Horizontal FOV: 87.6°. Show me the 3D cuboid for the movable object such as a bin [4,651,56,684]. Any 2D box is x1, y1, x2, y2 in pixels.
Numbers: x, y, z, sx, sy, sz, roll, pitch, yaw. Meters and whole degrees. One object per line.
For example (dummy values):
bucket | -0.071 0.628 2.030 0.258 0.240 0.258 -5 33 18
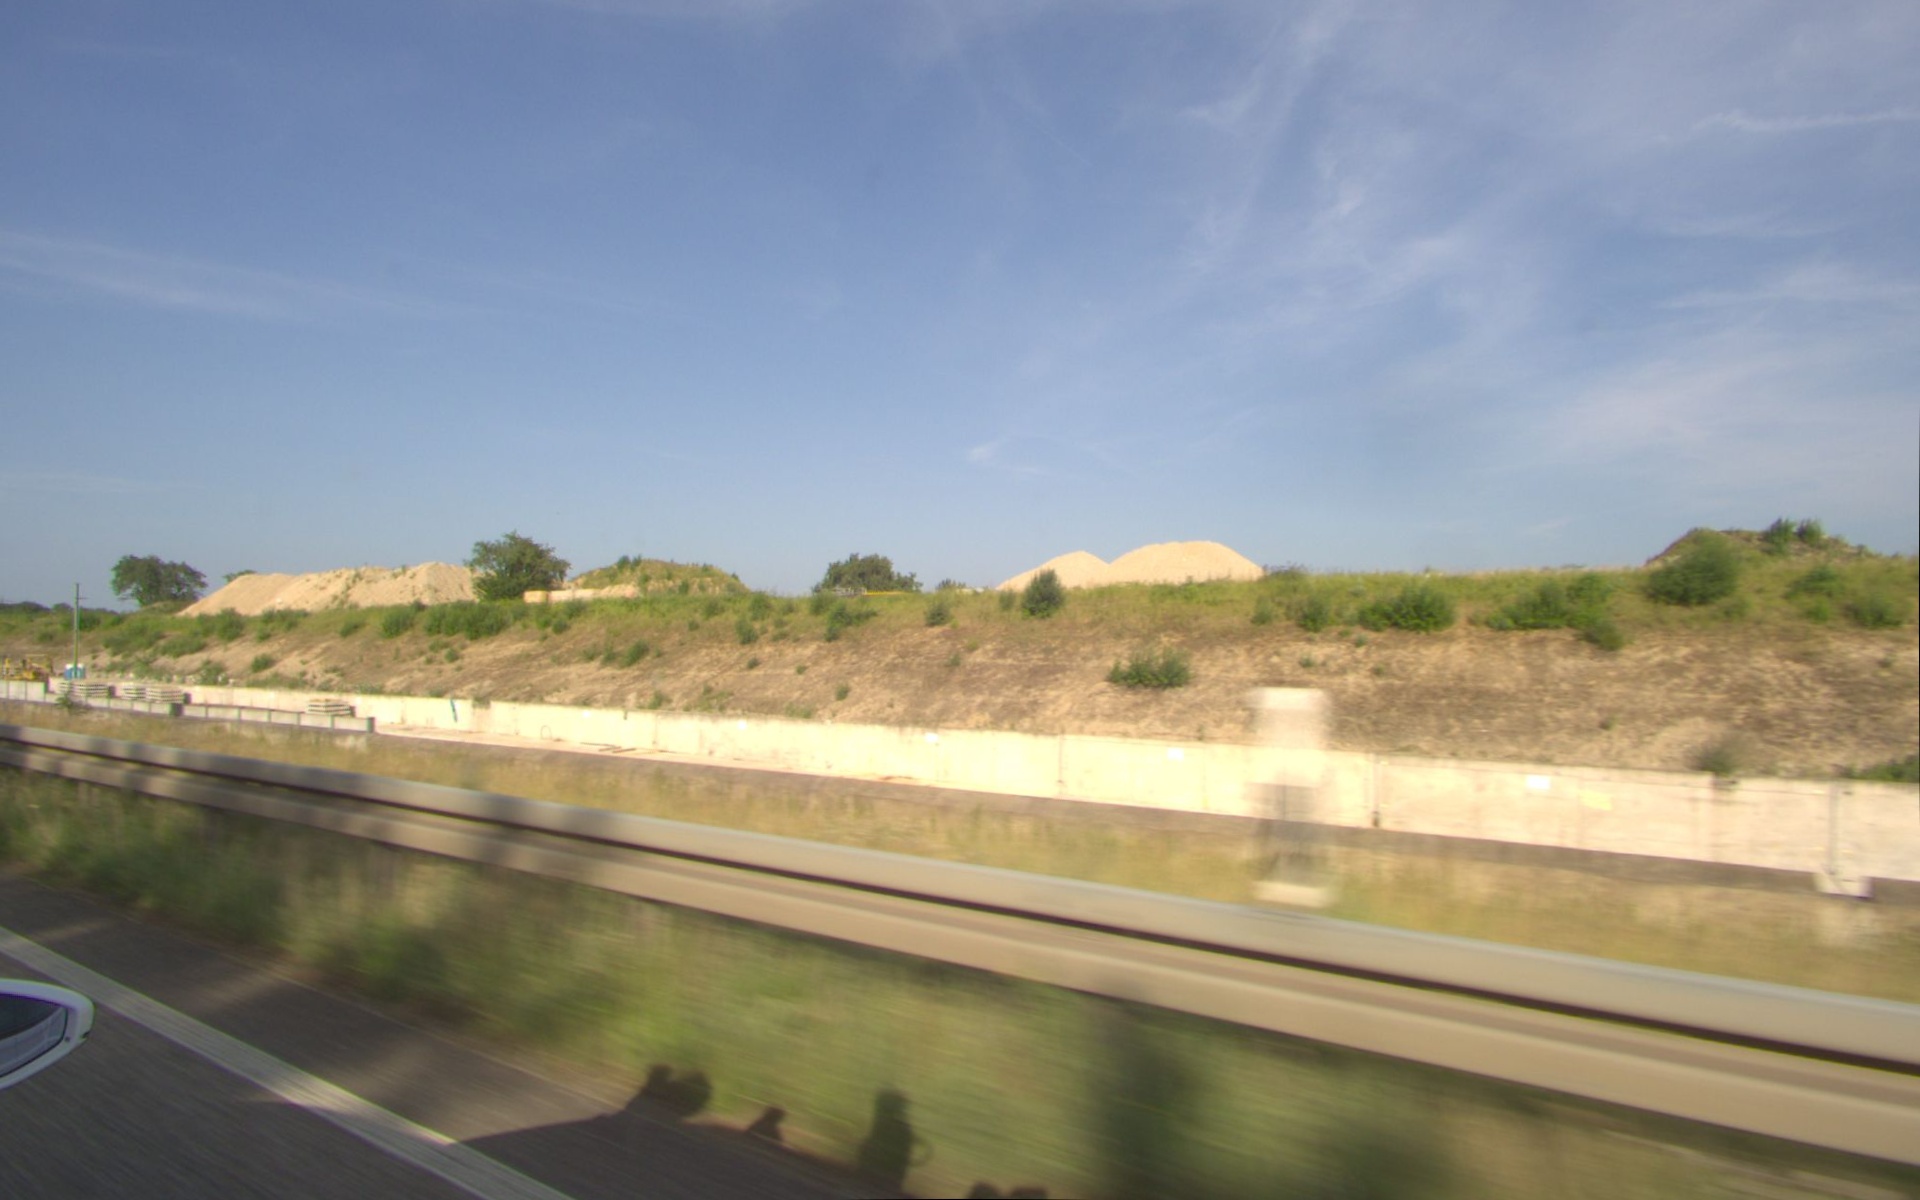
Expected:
movable object such as a bin | -78.485 5.644 84.583 2.875 2.695 2.007 1 -1 -34
